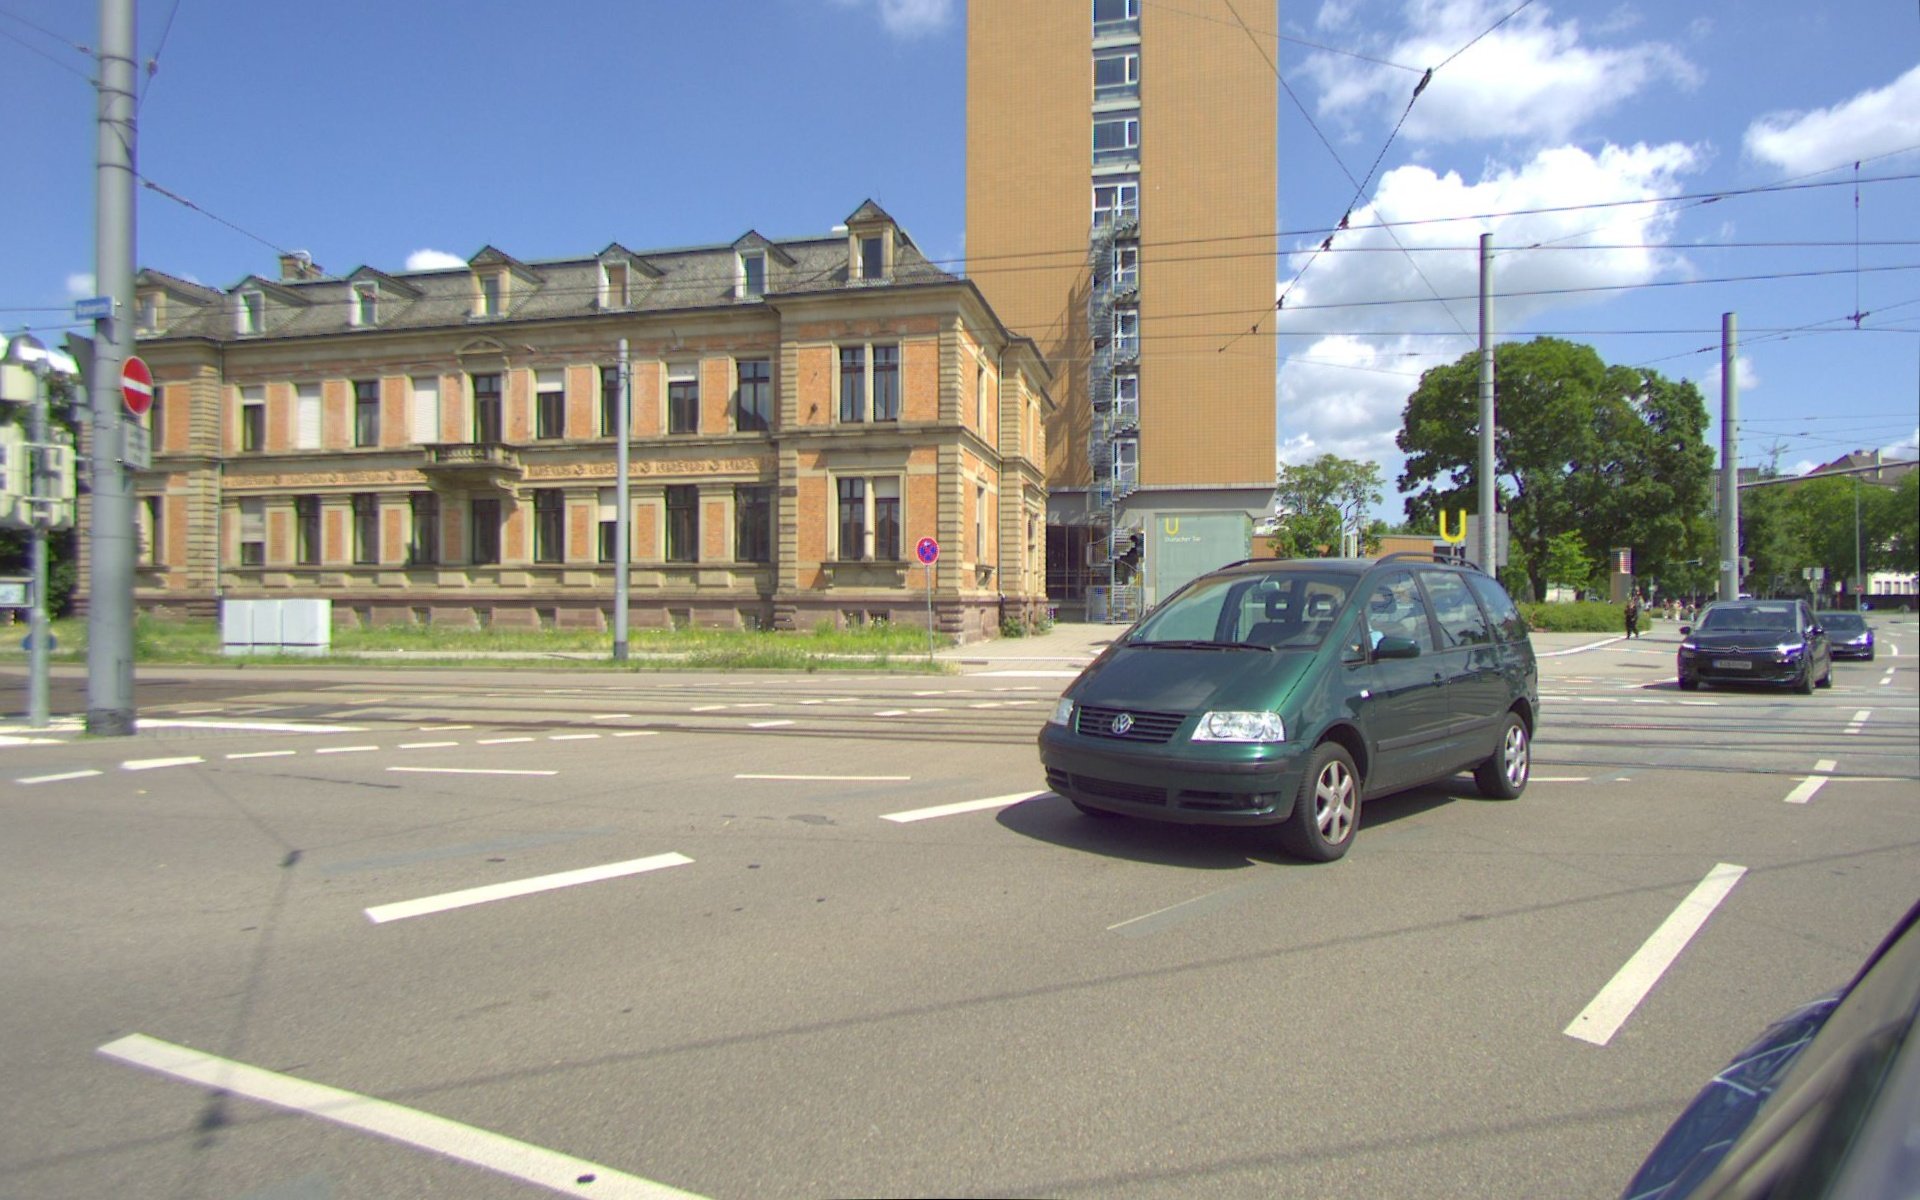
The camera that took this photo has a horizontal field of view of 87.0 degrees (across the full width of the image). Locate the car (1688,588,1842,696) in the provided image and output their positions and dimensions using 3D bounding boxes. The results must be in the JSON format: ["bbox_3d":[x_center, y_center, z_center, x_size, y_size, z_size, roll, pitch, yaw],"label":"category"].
[{"bbox_3d":[14.472,0.633,18.111,1.867,1.636,4.359,1,2,42],"label":"car"}]

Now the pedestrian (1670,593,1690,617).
[{"bbox_3d":[52.967,0.370,74.450,1.144,1.711,1.295,0,0,34],"label":"pedestrian"}]

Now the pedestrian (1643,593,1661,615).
[{"bbox_3d":[55.183,0.310,80.709,1.144,1.711,1.295,0,0,34],"label":"pedestrian"}]

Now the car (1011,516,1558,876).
[{"bbox_3d":[2.411,0.473,6.946,4.016,1.740,1.816,0,-2,-43],"label":"car"}]

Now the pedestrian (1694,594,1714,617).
[{"bbox_3d":[54.652,0.384,74.348,1.144,1.711,1.295,0,0,34],"label":"pedestrian"}]

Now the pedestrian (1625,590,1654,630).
[{"bbox_3d":[28.013,0.397,41.725,0.755,1.606,0.828,1,0,-44],"label":"pedestrian"}]

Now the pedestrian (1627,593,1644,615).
[{"bbox_3d":[54.099,0.291,81.031,1.144,1.711,1.295,0,0,34],"label":"pedestrian"}]

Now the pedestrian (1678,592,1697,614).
[{"bbox_3d":[56.009,0.235,77.926,1.144,1.711,1.295,0,0,34],"label":"pedestrian"}]

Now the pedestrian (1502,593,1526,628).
[{"bbox_3d":[26.596,0.500,48.604,0.755,1.646,0.828,1,0,-44],"label":"pedestrian"}]

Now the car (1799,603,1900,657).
[{"bbox_3d":[27.366,0.864,31.098,4.351,1.504,1.870,0,0,-43],"label":"car"}]
